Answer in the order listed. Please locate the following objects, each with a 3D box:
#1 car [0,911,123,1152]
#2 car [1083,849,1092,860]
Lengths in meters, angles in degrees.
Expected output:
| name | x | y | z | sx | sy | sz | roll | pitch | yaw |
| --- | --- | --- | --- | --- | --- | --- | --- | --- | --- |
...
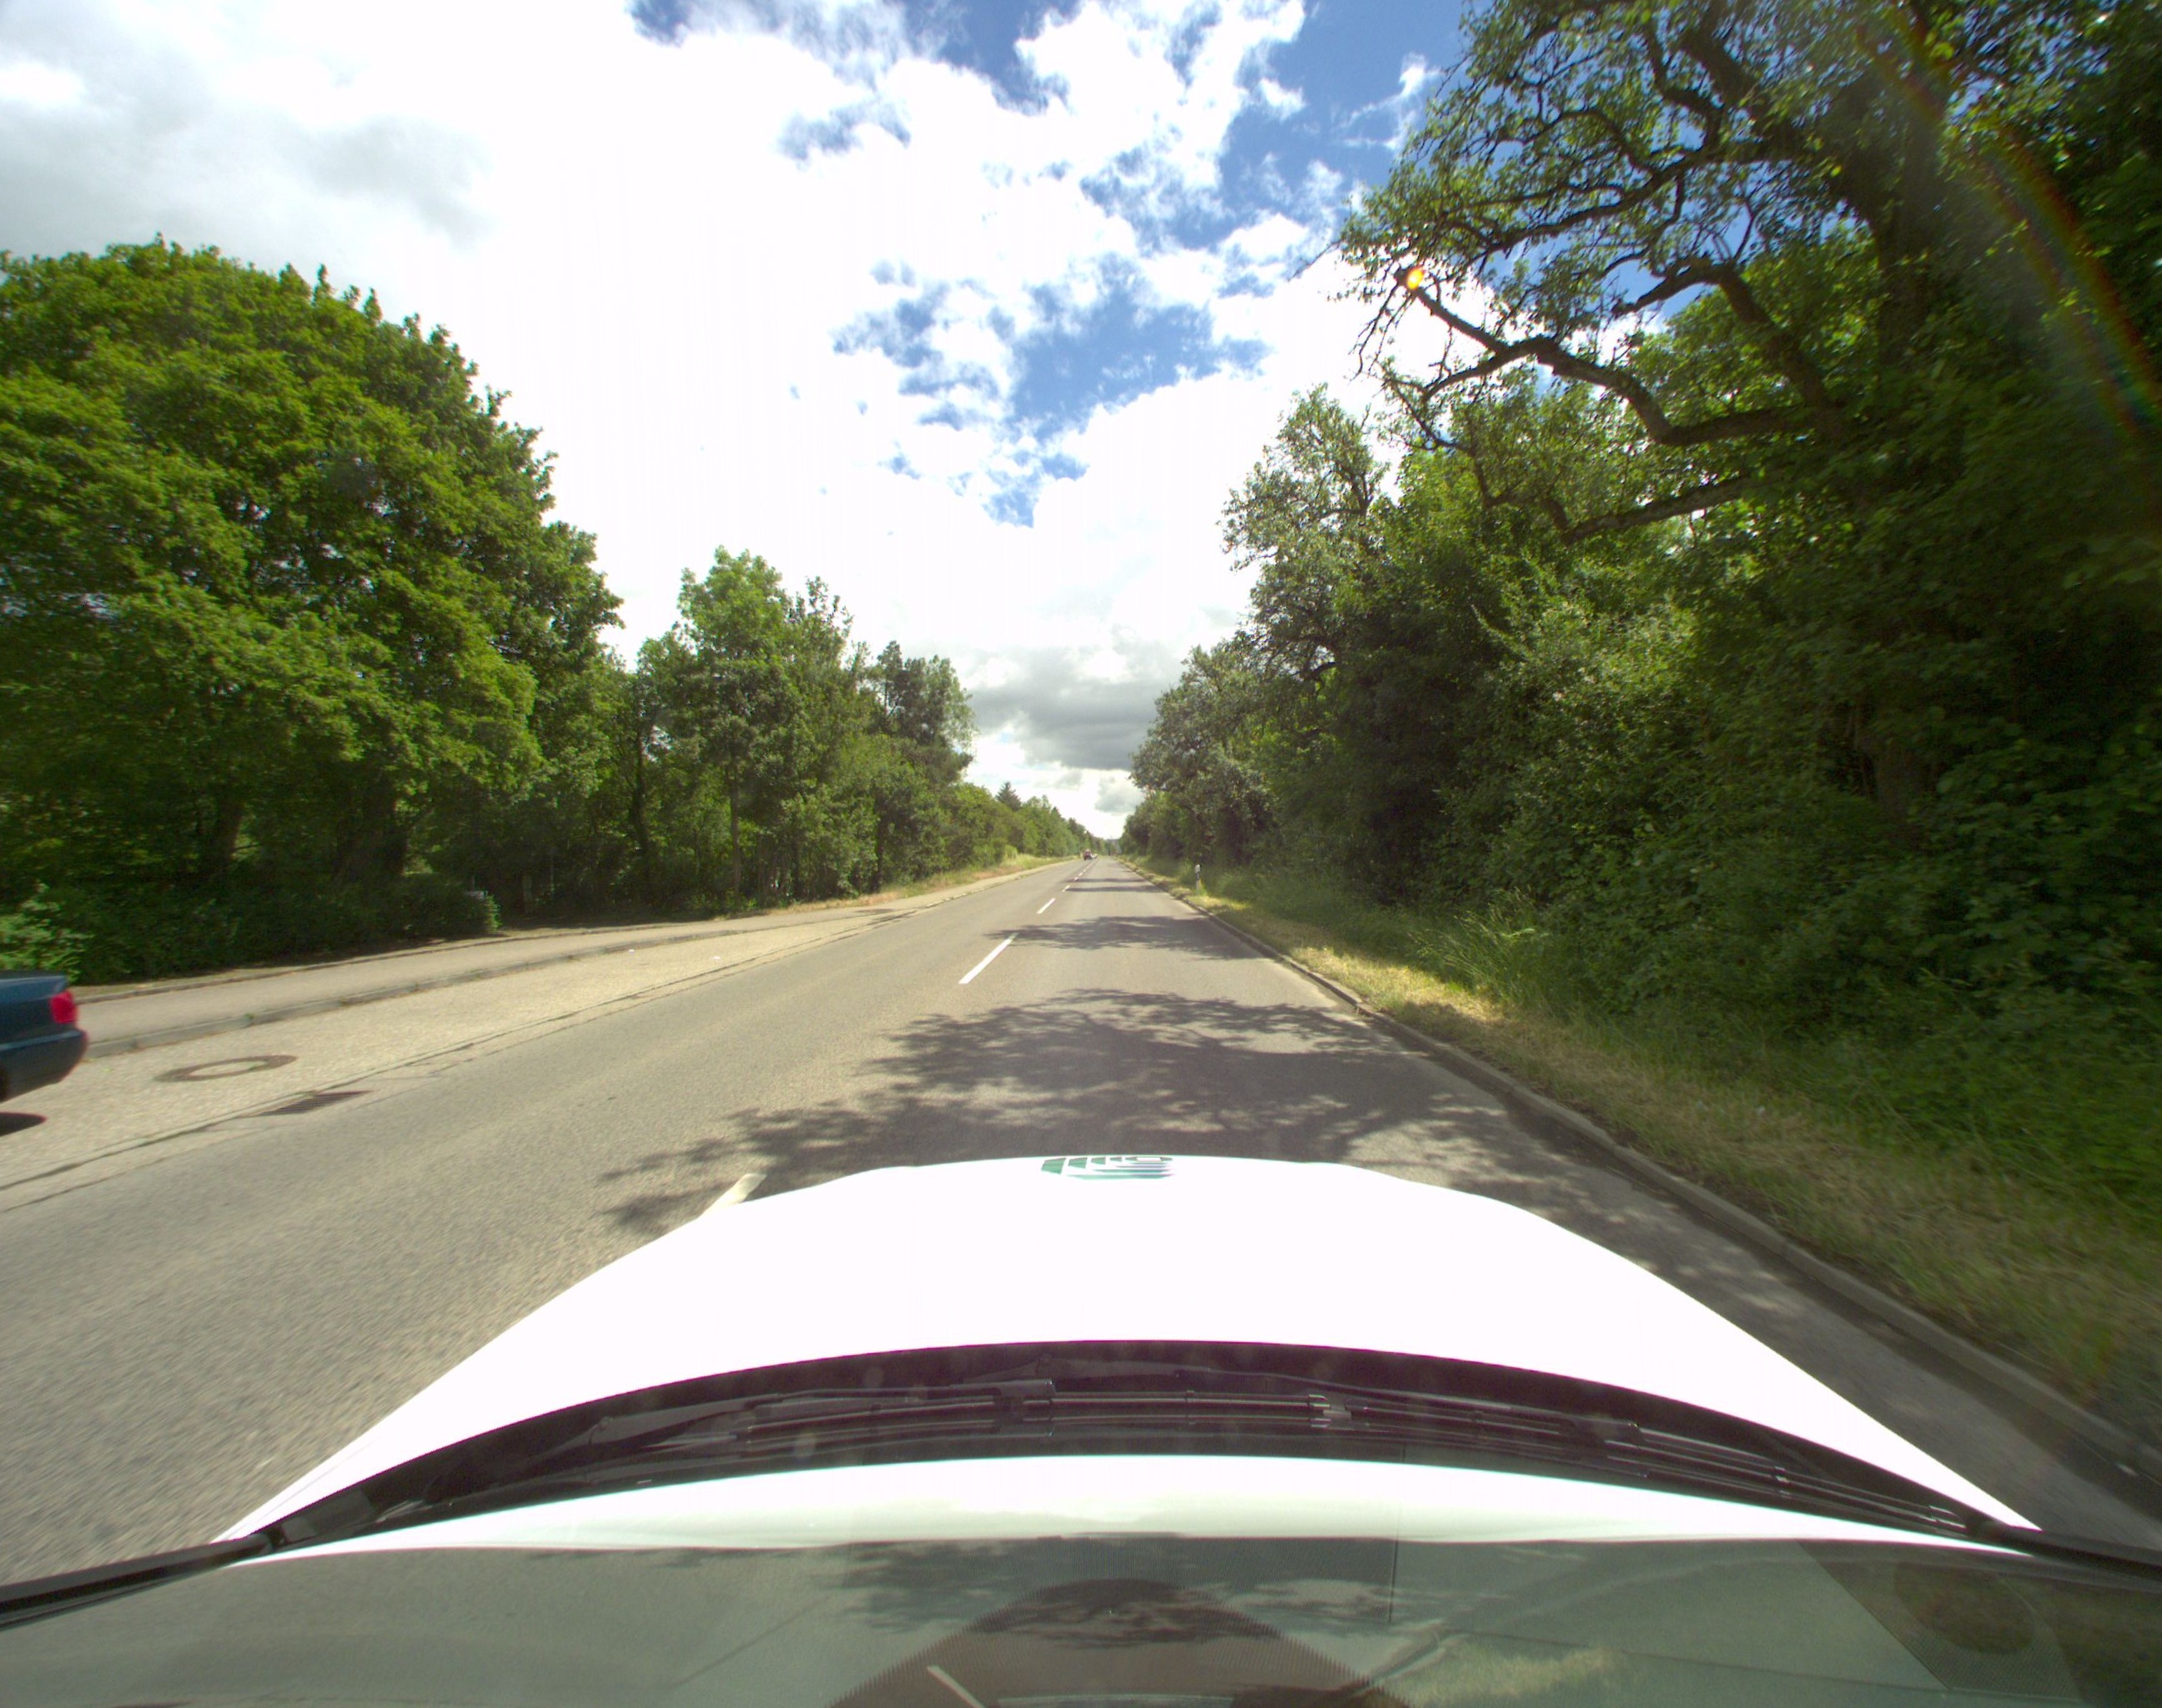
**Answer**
| name | x | y | z | sx | sy | sz | roll | pitch | yaw |
| --- | --- | --- | --- | --- | --- | --- | --- | --- | --- |
| car | -7.525 | 1.080 | 3.418 | 1.760 | 1.408 | 4.270 | 0 | 0 | 5 |
| car | 1.609 | 0.107 | 193.764 | 1.962 | 2.550 | 4.726 | -4 | 0 | 1 |
